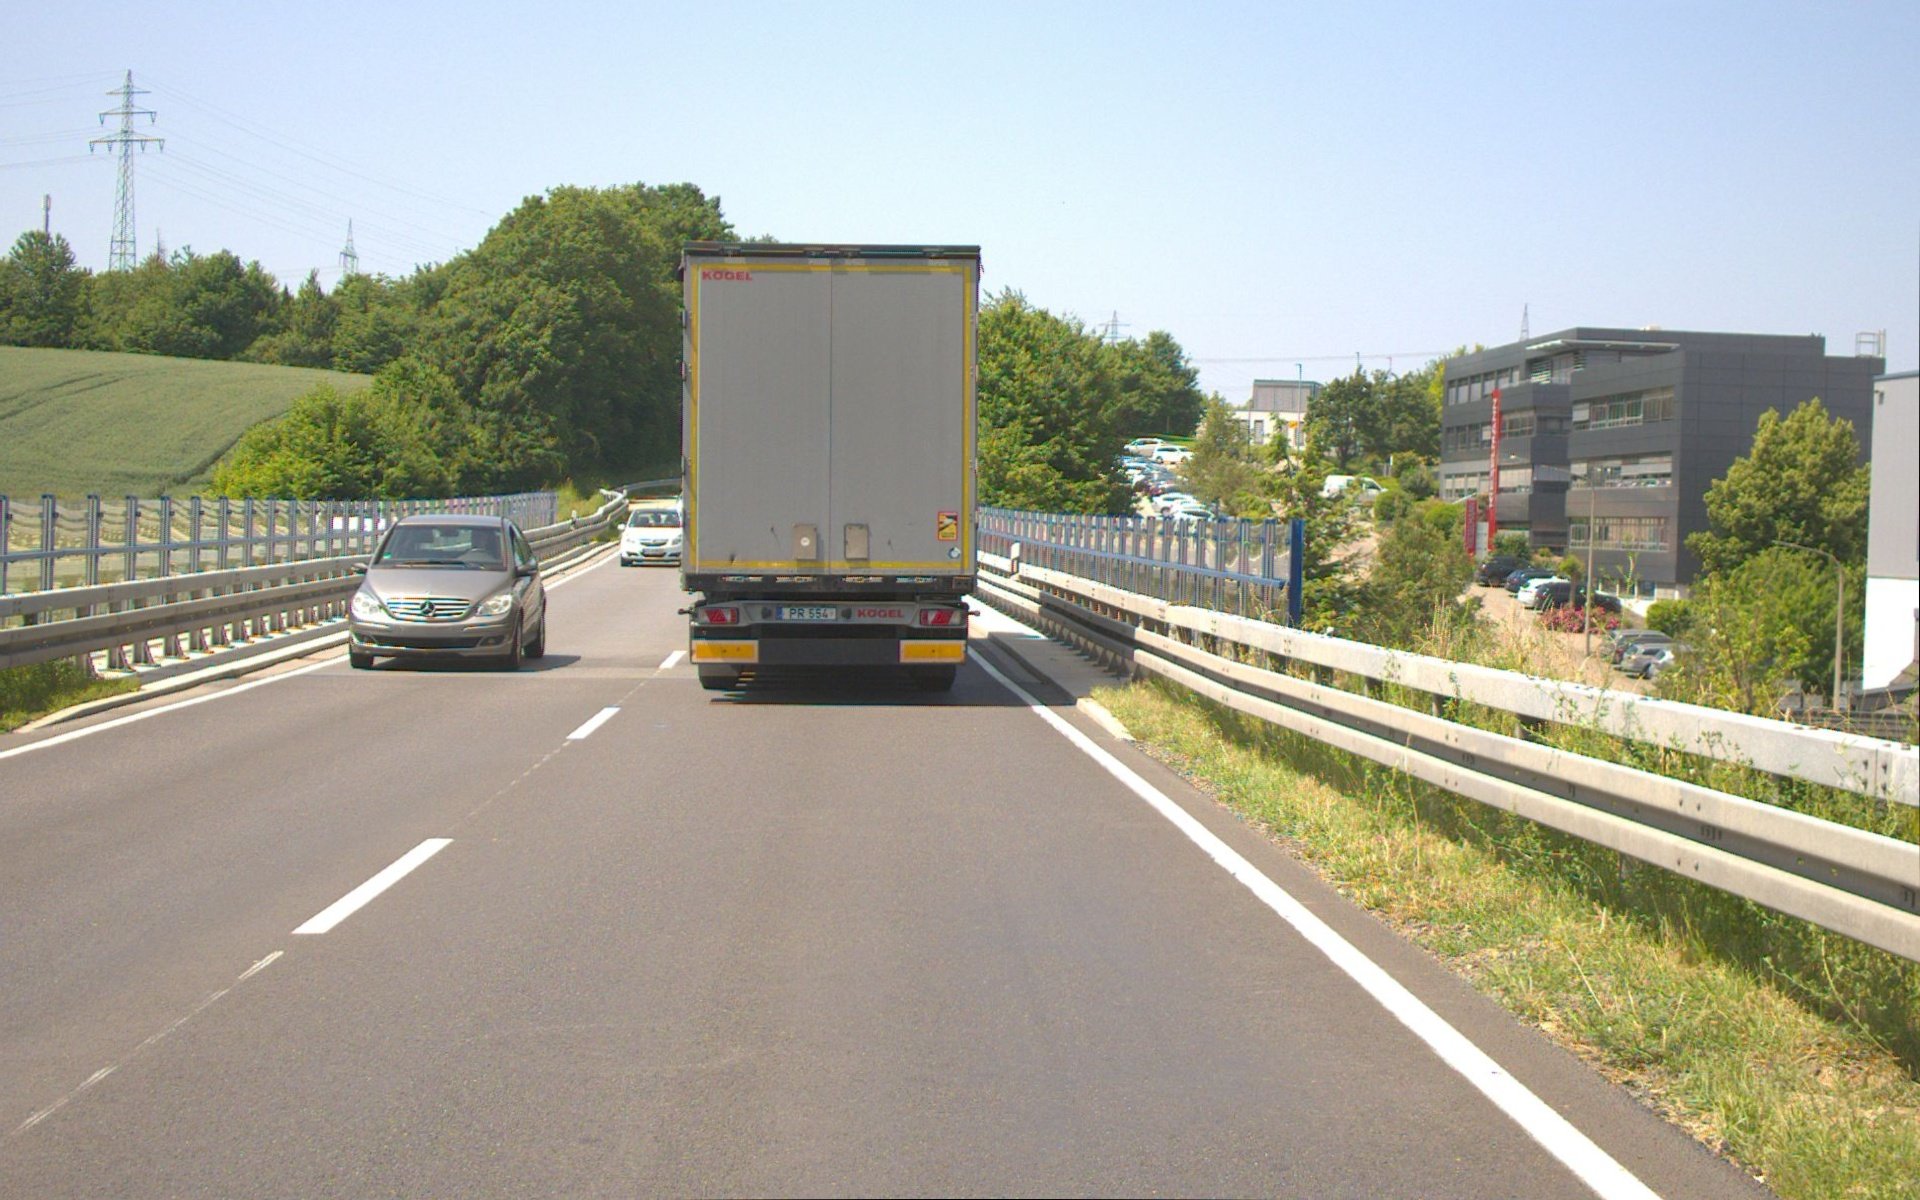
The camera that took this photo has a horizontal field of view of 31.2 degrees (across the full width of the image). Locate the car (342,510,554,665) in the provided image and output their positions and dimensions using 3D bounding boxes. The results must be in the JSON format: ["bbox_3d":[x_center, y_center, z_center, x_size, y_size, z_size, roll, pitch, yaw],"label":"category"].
[{"bbox_3d":[-5.496,-0.171,37.356,1.806,1.584,4.380,0,1,-2],"label":"car"}]

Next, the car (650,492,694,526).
[{"bbox_3d":[-12.351,-3.924,147.760,1.781,1.431,4.836,0,2,-4],"label":"car"}]

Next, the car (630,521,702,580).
[{"bbox_3d":[-7.589,-1.296,89.061,1.707,1.500,4.119,0,1,-3],"label":"car"}]

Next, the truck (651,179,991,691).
[{"bbox_3d":[-1.390,-1.460,34.087,2.866,4.344,9.790,0,1,-3],"label":"truck"}]
